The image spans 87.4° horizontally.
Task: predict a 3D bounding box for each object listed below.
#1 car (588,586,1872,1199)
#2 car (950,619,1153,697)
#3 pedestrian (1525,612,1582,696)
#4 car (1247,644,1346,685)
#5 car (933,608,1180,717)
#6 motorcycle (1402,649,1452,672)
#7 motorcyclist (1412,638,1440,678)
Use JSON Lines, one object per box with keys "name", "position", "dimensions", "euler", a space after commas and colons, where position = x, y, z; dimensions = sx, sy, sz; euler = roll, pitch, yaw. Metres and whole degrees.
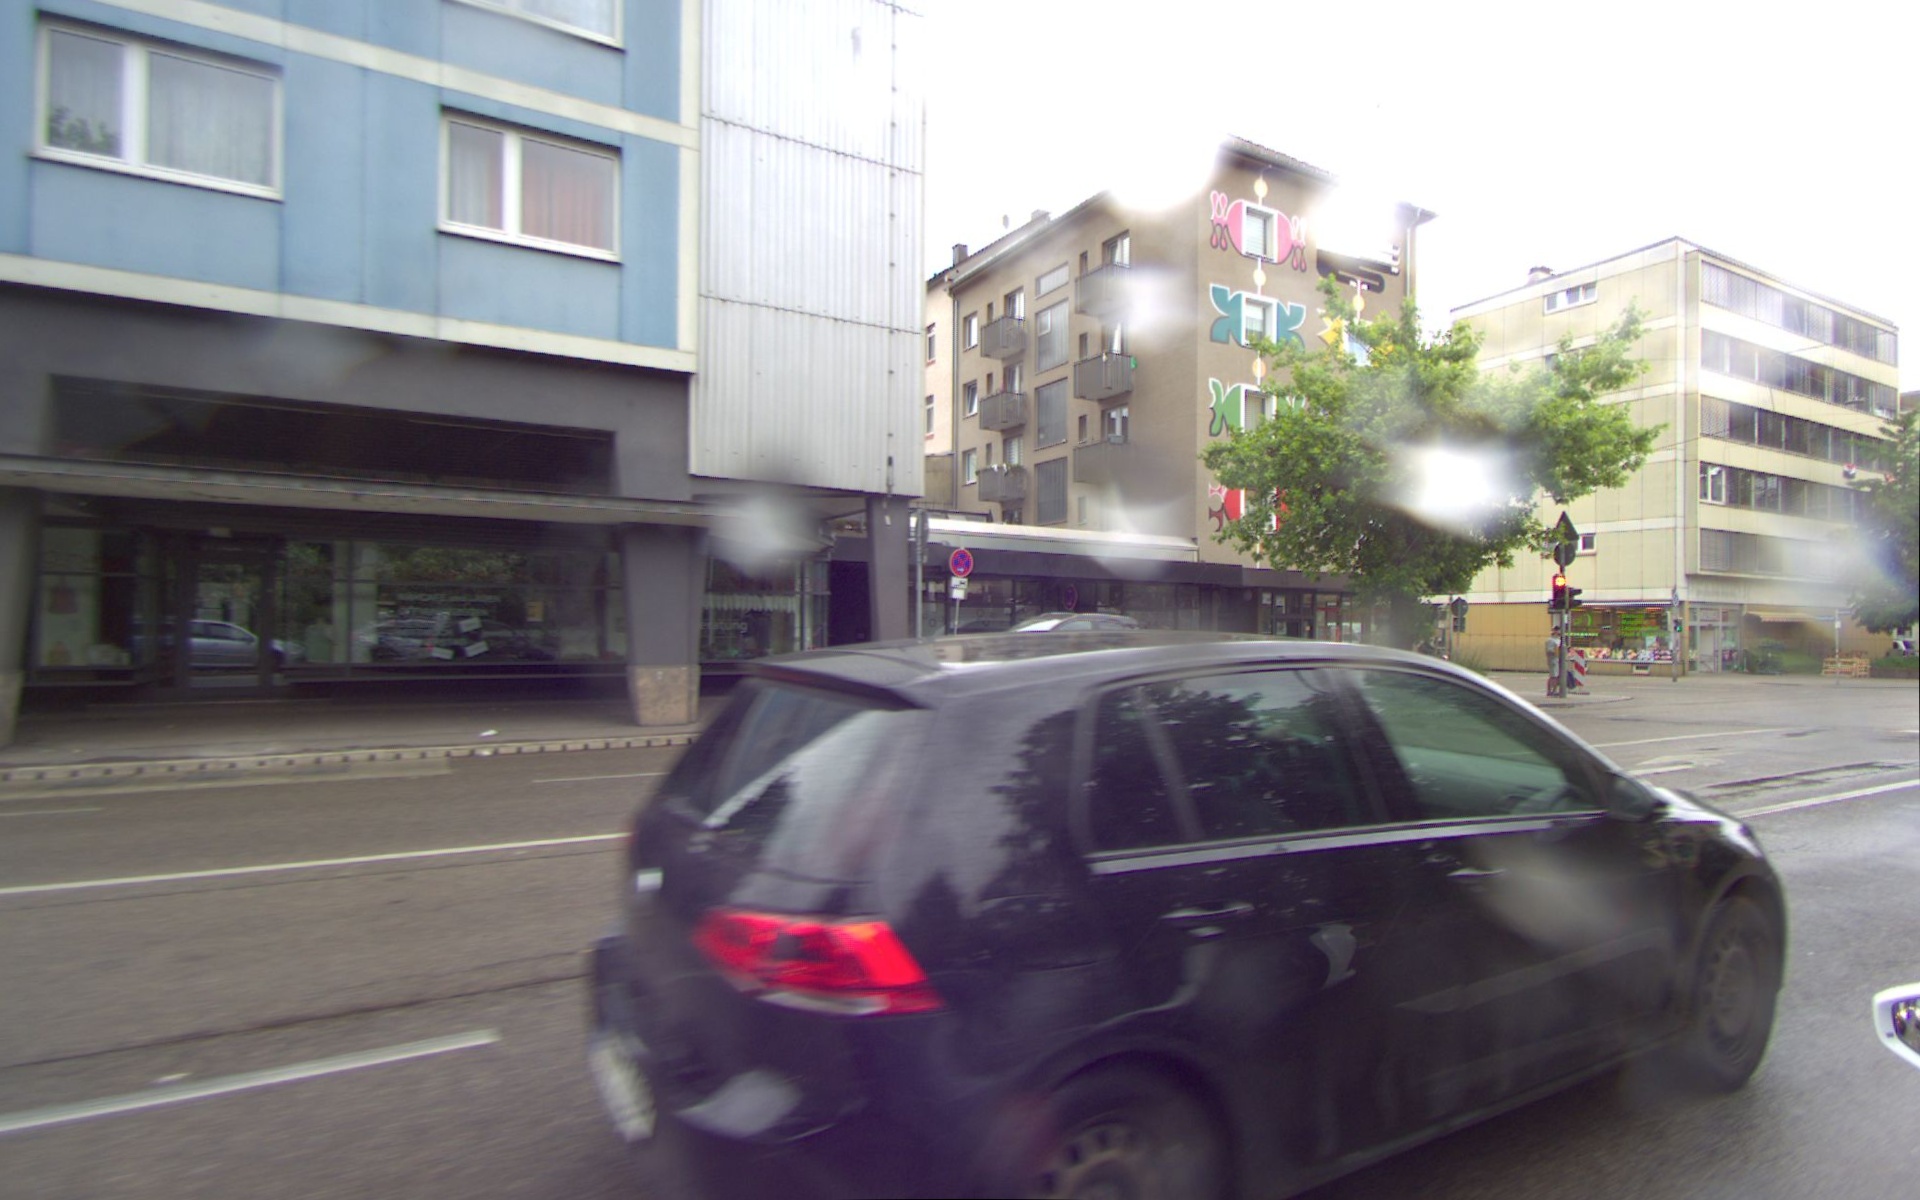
{"name": "car", "position": [1.033, 0.768, 3.239], "dimensions": [3.953, 1.472, 1.747], "euler": [1, -2, -31]}
{"name": "car", "position": [2.177, 1.325, 23.623], "dimensions": [4.460, 1.676, 1.983], "euler": [2, -1, -31]}
{"name": "pedestrian", "position": [14.813, 1.349, 25.074], "dimensions": [0.879, 2.040, 0.933], "euler": [2, -3, -39]}
{"name": "car", "position": [17.005, 3.280, 50.939], "dimensions": [2.013, 1.944, 4.409], "euler": [2, -4, -34]}
{"name": "car", "position": [1.753, 1.046, 17.716], "dimensions": [4.237, 1.728, 1.532], "euler": [1, -1, -30]}
{"name": "motorcycle", "position": [19.899, 2.573, 42.858], "dimensions": [1.833, 0.947, 0.614], "euler": [-3, -4, 45]}
{"name": "motorcyclist", "position": [19.895, 2.494, 42.888], "dimensions": [0.908, 1.684, 0.704], "euler": [-2, -4, 44]}
